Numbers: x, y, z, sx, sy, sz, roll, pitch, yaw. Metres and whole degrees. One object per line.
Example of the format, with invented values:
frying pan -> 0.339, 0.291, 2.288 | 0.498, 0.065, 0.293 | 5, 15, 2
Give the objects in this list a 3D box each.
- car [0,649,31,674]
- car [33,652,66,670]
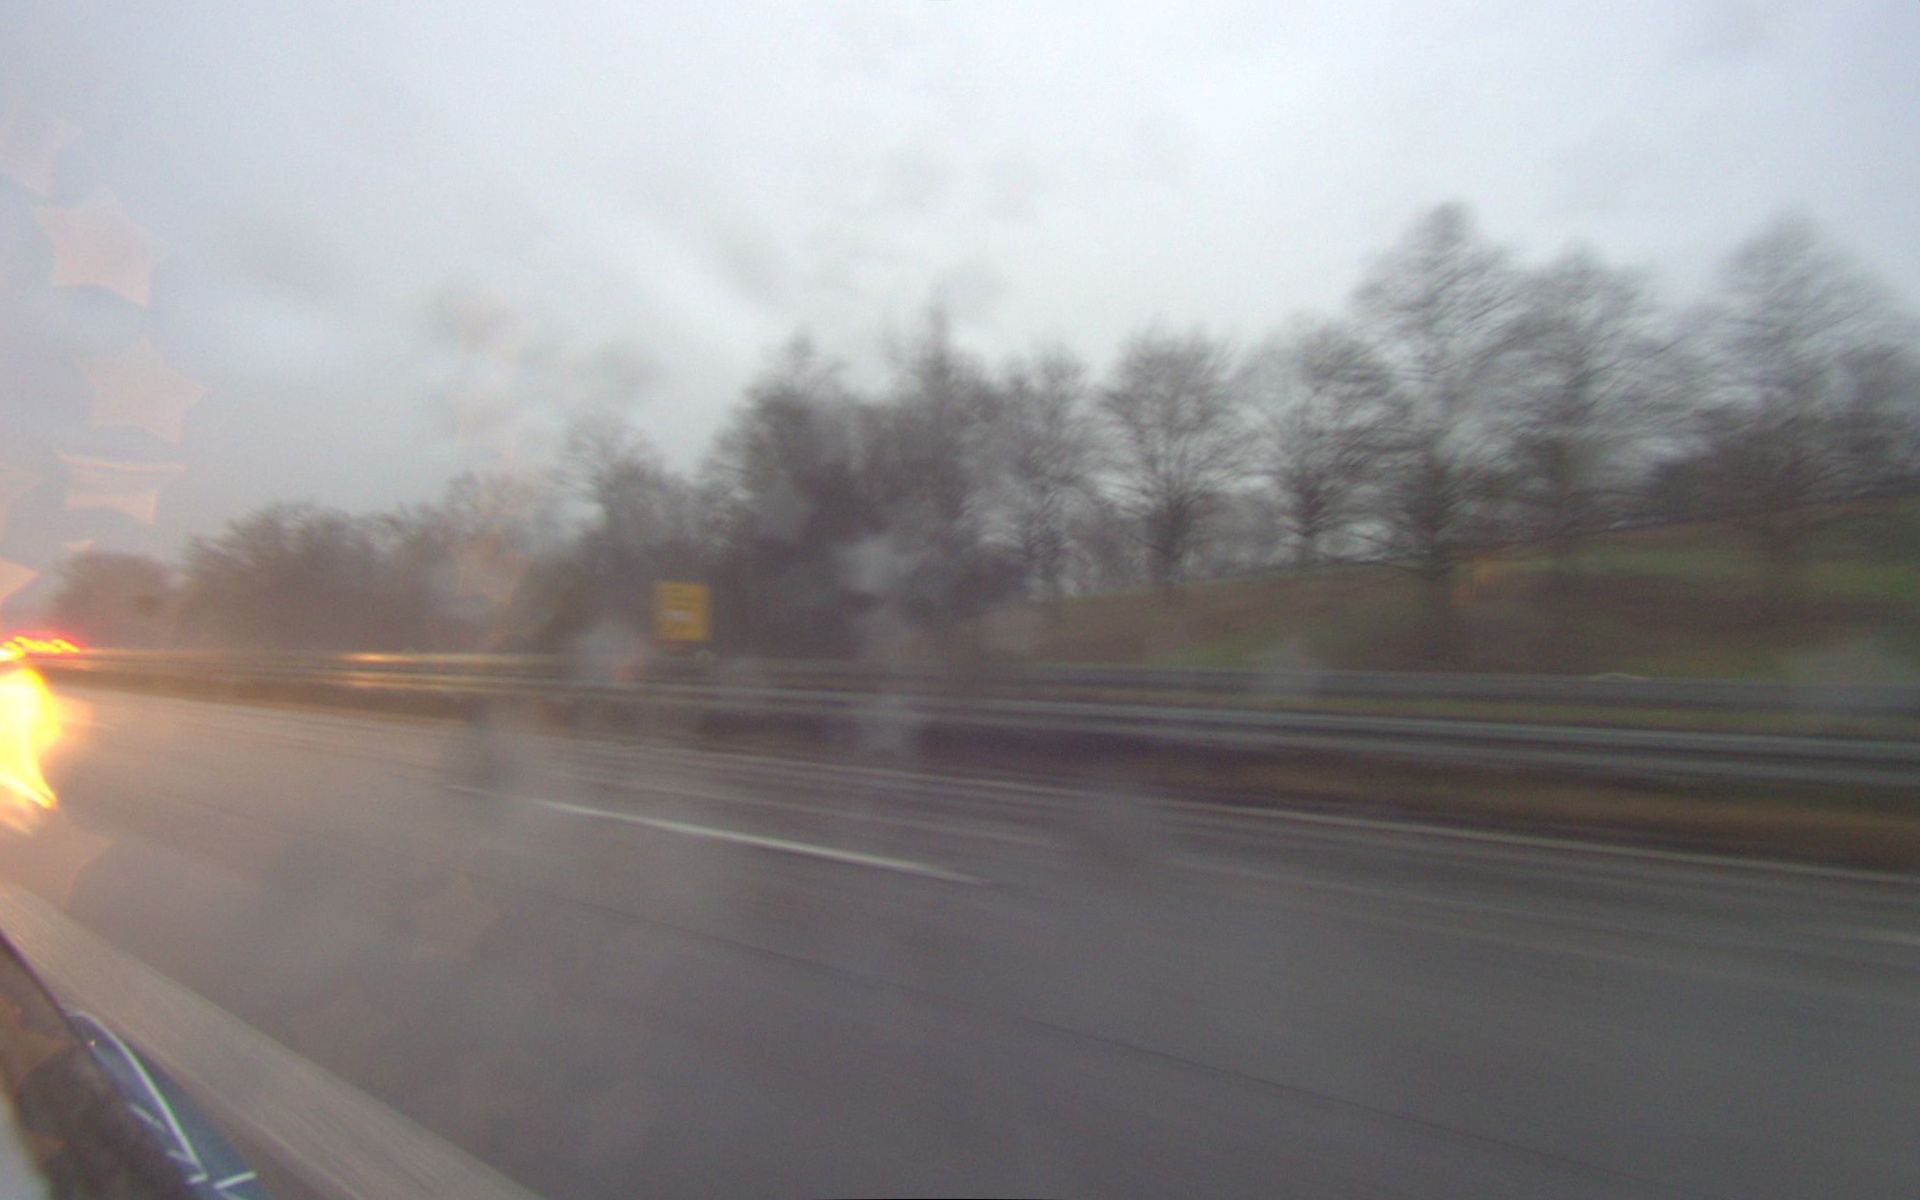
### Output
car -> -83.788, 5.440, 89.371 | 3.996, 2.029, 1.973 | 0, -2, 40
car -> -88.638, 5.960, 98.484 | 4.200, 1.648, 1.666 | -1, -4, 39
